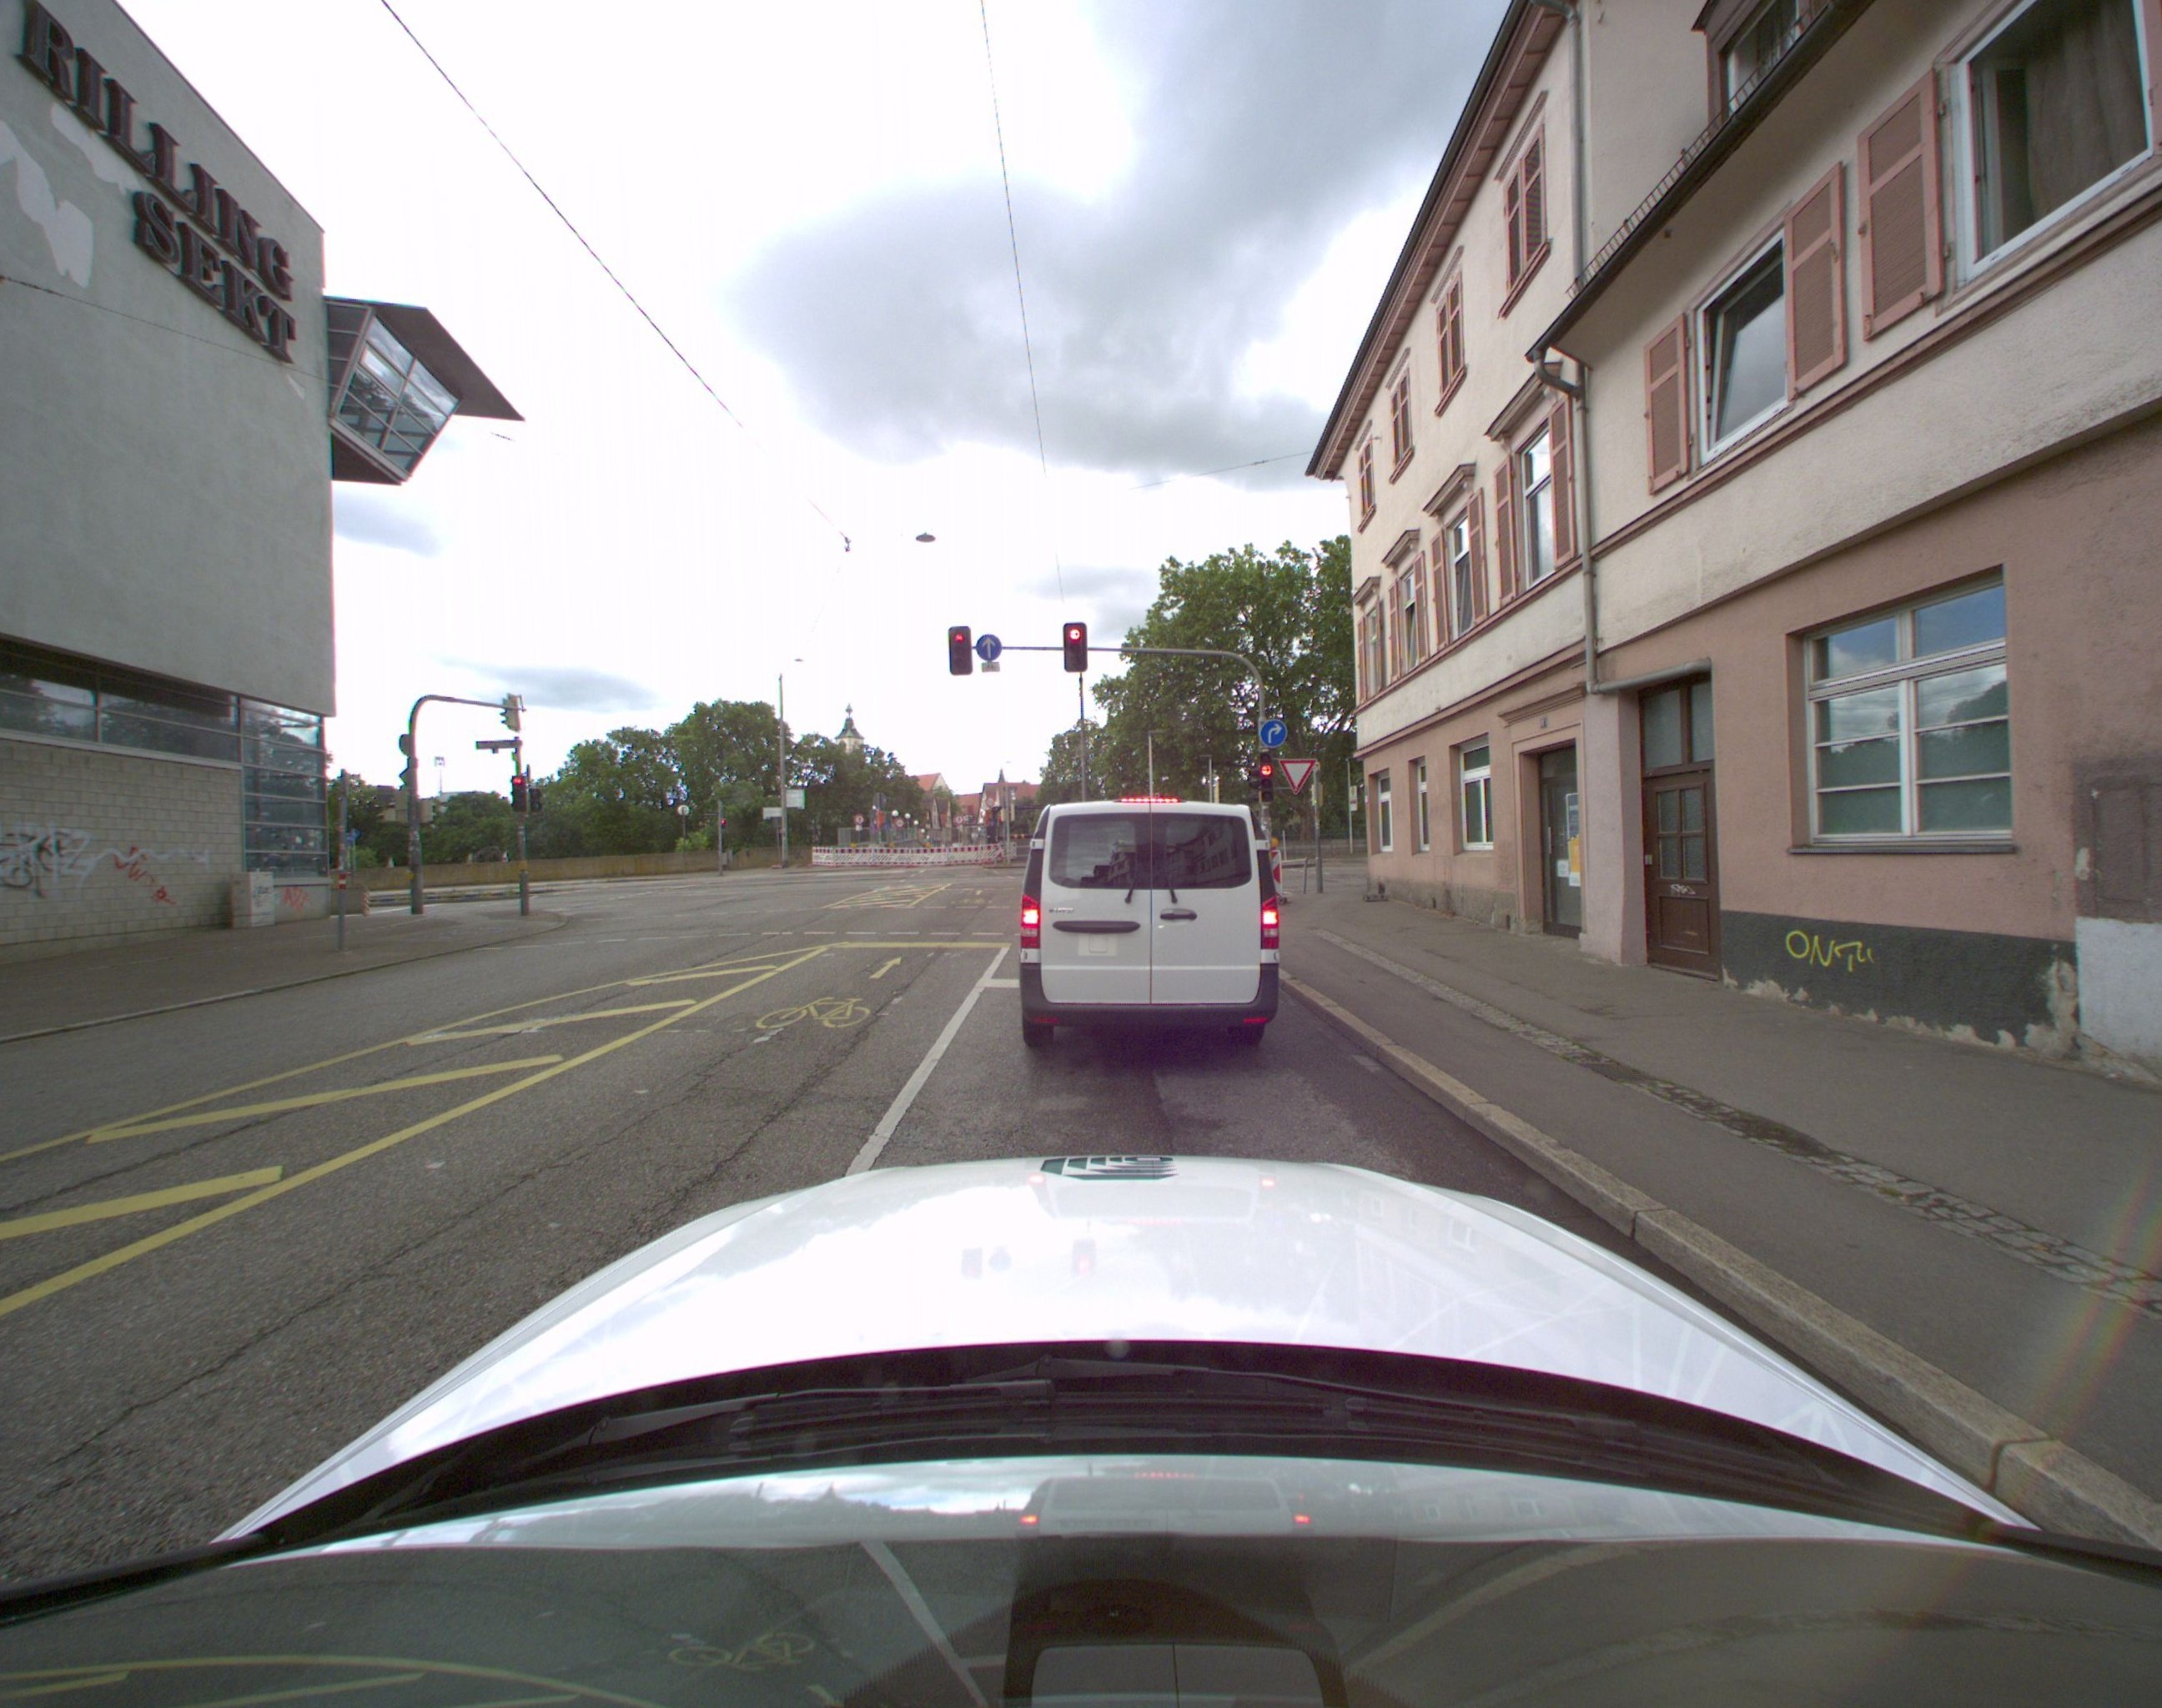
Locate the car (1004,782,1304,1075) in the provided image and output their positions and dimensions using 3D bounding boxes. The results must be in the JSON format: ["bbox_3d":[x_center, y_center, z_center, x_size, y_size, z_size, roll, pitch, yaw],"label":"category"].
[{"bbox_3d":[0.455,0.424,7.530,1.988,1.922,4.247,-1,2,-1],"label":"car"}]
